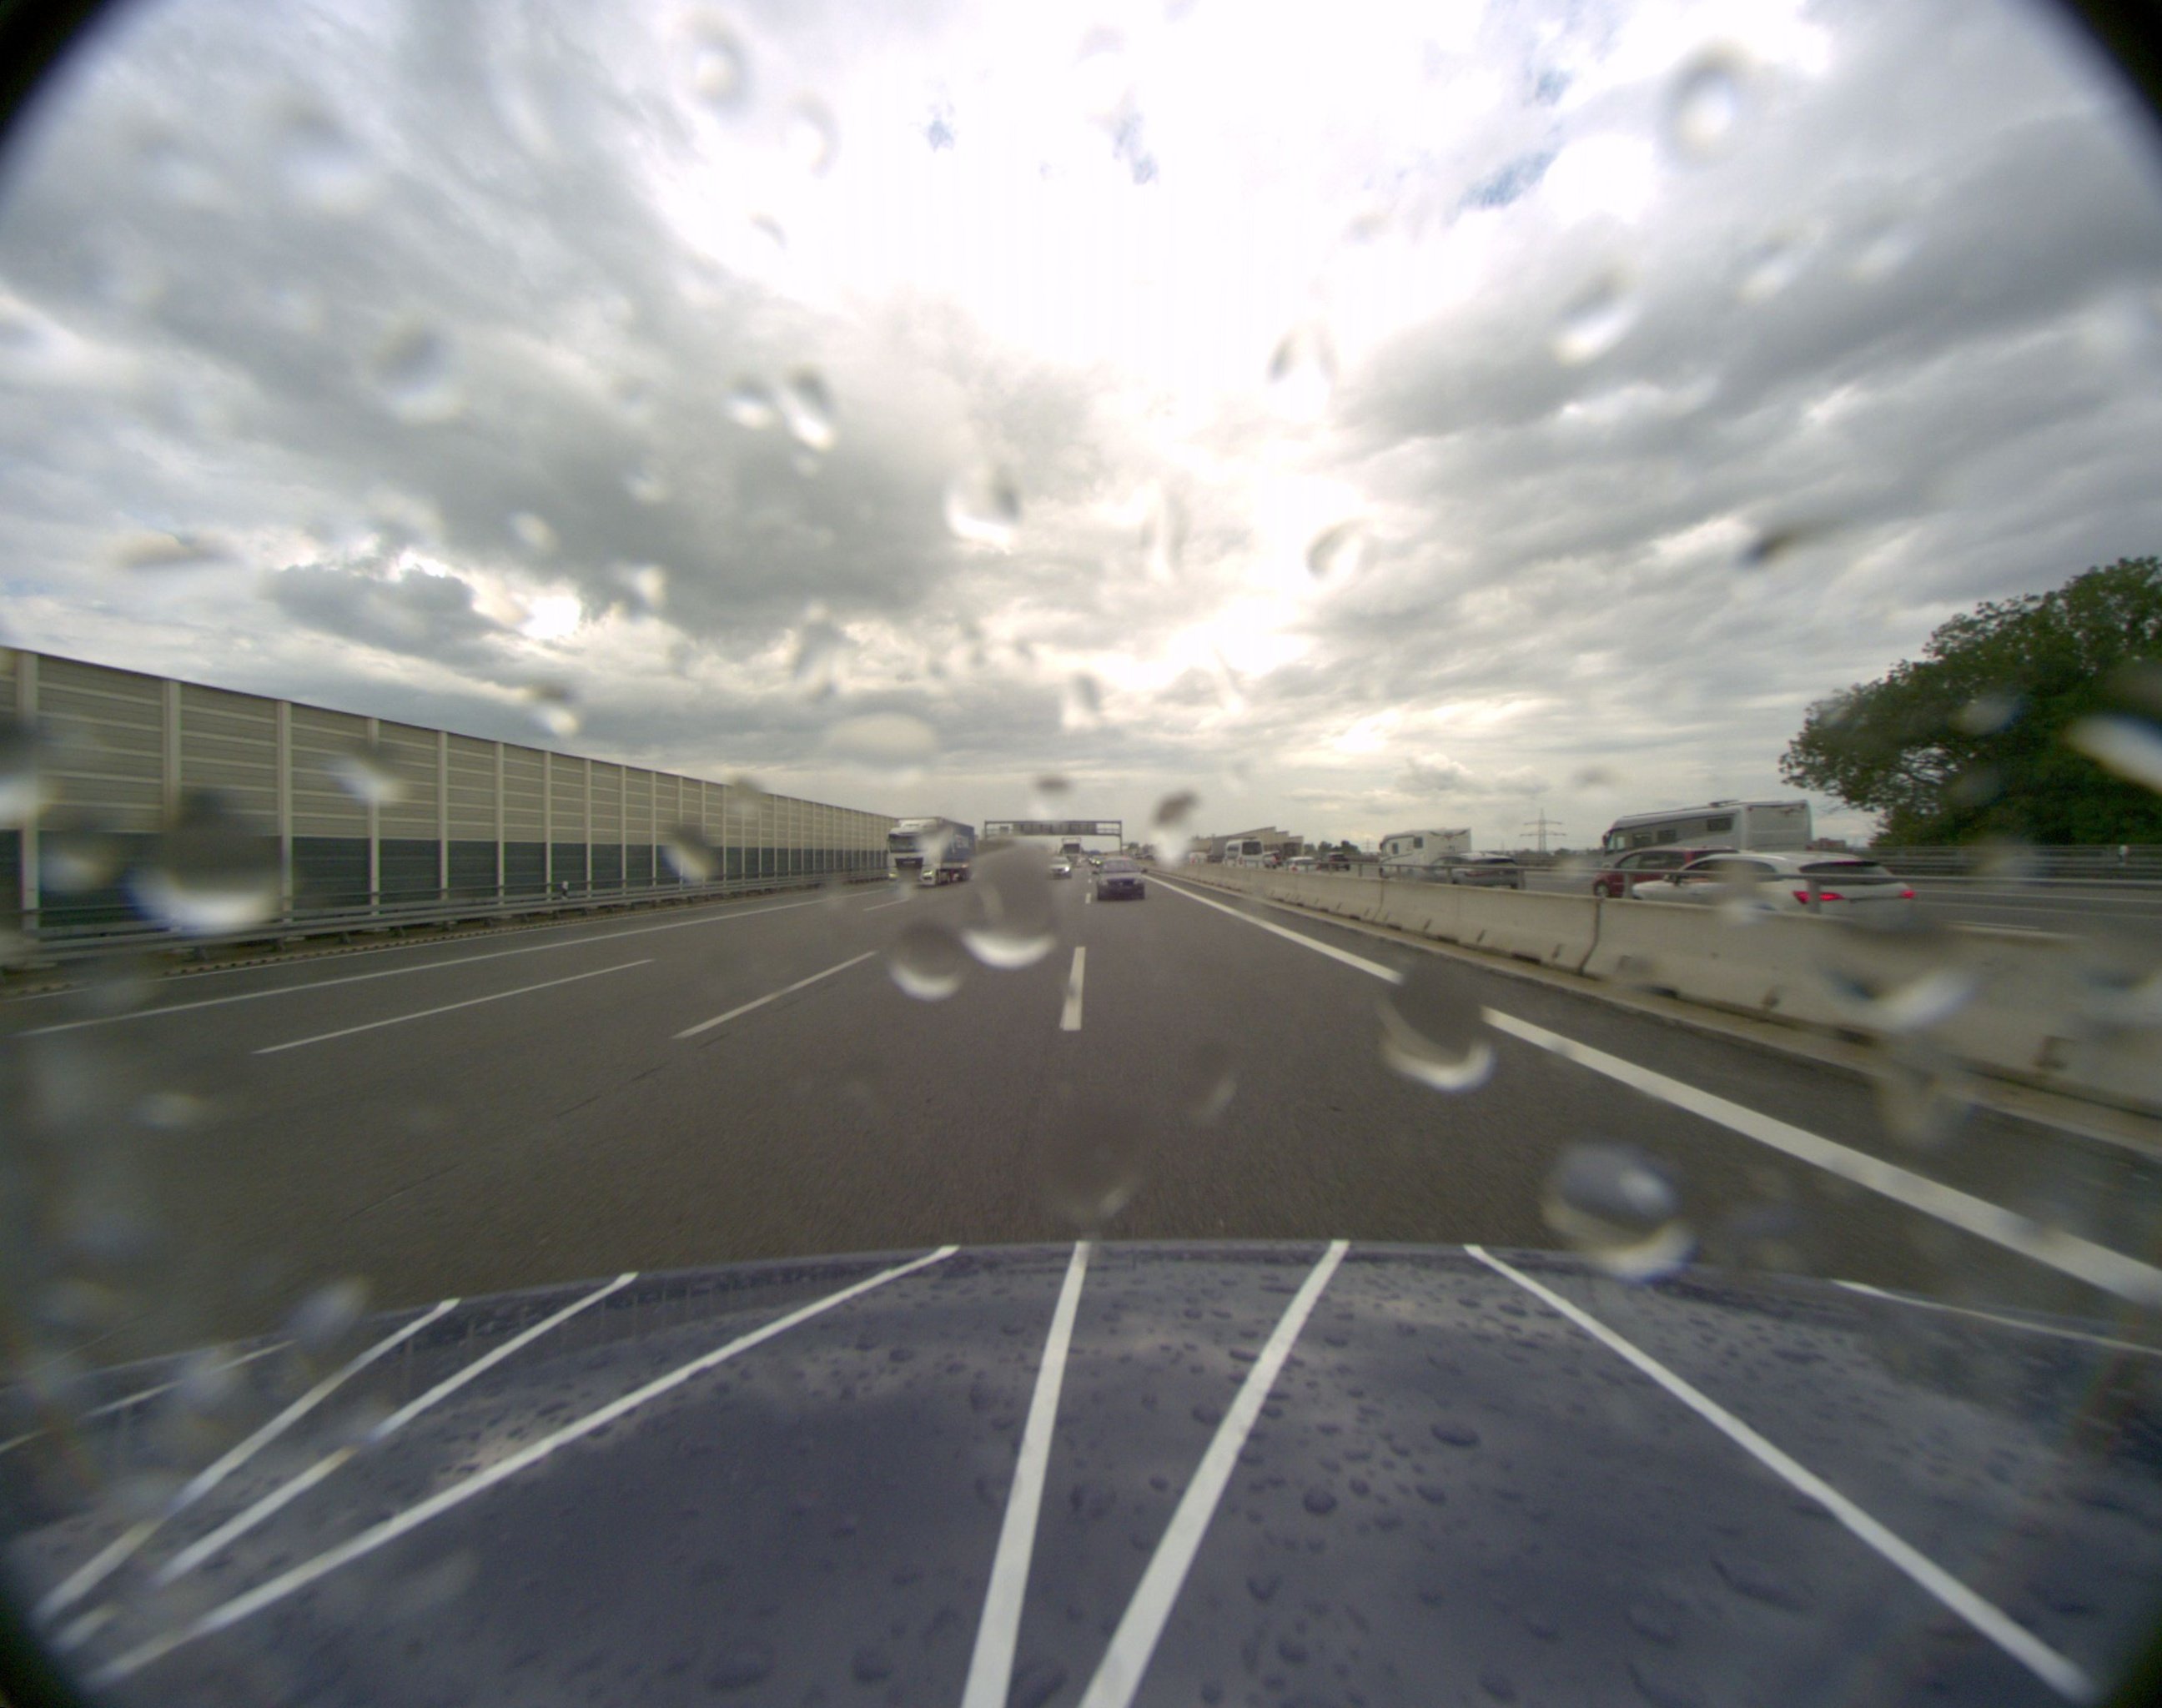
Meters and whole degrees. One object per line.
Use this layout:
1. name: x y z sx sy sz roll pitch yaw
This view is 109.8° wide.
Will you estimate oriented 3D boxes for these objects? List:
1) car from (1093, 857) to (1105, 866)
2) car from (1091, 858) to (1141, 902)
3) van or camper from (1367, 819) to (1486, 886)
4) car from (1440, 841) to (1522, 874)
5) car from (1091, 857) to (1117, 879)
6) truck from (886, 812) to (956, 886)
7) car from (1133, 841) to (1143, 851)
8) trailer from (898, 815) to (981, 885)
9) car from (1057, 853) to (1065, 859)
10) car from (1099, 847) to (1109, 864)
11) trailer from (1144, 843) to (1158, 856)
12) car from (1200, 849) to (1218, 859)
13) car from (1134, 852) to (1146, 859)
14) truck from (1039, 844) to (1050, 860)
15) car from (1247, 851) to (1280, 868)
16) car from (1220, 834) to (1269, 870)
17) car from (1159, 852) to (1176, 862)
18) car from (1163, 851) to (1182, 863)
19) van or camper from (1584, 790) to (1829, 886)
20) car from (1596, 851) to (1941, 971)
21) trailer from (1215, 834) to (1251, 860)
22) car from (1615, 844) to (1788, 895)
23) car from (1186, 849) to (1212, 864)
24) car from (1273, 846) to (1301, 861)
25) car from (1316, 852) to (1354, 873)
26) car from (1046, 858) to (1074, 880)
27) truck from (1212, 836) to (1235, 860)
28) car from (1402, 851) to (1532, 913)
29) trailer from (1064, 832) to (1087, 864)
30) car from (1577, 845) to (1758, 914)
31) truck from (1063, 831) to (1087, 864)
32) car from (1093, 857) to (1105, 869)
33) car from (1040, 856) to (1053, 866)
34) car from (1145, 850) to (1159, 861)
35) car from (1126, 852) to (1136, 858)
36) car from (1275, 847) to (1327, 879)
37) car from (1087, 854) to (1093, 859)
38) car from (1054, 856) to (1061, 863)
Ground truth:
1. car: 2.744 1.104 115.287 1.498 1.395 3.999 -2 0 -2
2. car: 1.177 0.852 26.979 1.578 1.395 4.000 -2 0 1
3. van or camper: 17.022 -0.108 38.095 2.631 2.934 7.358 -3 1 1
4. car: 21.298 0.136 40.713 1.852 1.538 5.019 -3 1 2
5. car: 1.663 0.982 54.706 1.776 1.451 4.481 -2 0 2
6. truck: -9.264 -0.258 44.733 2.752 4.011 5.726 -2 0 0
7. car: 16.064 -2.201 214.146 2.389 2.535 7.086 -2 0 0
8. trailer: -9.243 -0.227 51.794 2.768 4.008 14.452 -2 0 0
9. car: -5.128 0.457 193.612 1.698 1.395 4.000 -2 0 0
10. car: 4.272 0.342 142.891 1.645 3.041 4.589 -2 0 1
11. trailer: 22.677 -1.294 247.482 2.769 4.008 14.450 -2 0 -2
12. car: 21.049 0.043 125.151 2.065 1.526 5.469 -2 0 0
13. car: 12.493 0.276 161.025 2.065 1.525 4.997 -2 0 0
14. truck: -9.604 -0.549 200.329 2.600 4.087 11.368 -2 0 -4
15. car: 17.323 0.476 72.372 2.065 1.526 4.519 -2 0 0
16. car: 13.390 -0.063 63.053 2.236 2.733 9.166 -2 -1 1
17. car: 13.998 0.497 123.471 2.065 1.526 5.469 -2 0 0
18. car: 13.086 0.352 108.545 2.065 1.636 5.379 -2 0 0
19. van or camper: 23.802 -0.584 29.750 2.631 3.105 8.476 -3 1 1
20. car: 11.761 0.825 13.630 1.727 1.636 5.062 -3 1 2
21. trailer: 24.722 -1.061 124.543 2.939 4.008 14.452 -2 0 0
22. car: 20.188 0.423 25.069 1.727 1.448 5.019 -3 1 2
23. car: 13.180 0.250 85.200 2.065 1.526 5.469 -2 0 0
24. car: 24.828 -0.051 91.688 2.065 1.636 4.519 -2 0 0
25. car: 20.457 0.670 61.332 1.727 1.456 4.519 -3 1 2
26. car: -1.439 1.007 52.973 1.732 1.395 4.000 -2 0 1
27. truck: 24.761 -1.065 132.169 2.979 4.011 5.726 -2 0 0
28. car: 12.116 0.788 24.281 1.727 1.636 5.062 -3 1 2
29. trailer: -0.725 -0.823 110.530 2.926 4.188 13.196 -3 0 0
30. car: 16.340 0.623 21.516 1.727 1.636 4.519 -3 1 2
31. truck: -0.762 -0.829 103.236 2.913 4.146 5.193 -3 0 1
32. car: 2.266 1.160 96.375 1.498 1.395 4.000 -2 0 0
33. car: -5.189 1.070 113.792 1.698 1.395 4.000 -2 0 0
34. car: 13.404 0.291 144.317 2.065 1.869 6.327 -2 0 0
35. car: 12.713 0.246 194.010 2.065 1.482 4.997 -2 0 0
36. car: 12.278 0.462 42.701 1.727 1.636 4.519 -3 1 2
37. car: 2.487 0.757 210.176 1.698 1.395 4.000 -2 0 0
38. car: -4.871 1.109 157.165 1.498 1.395 3.999 -2 0 -2
